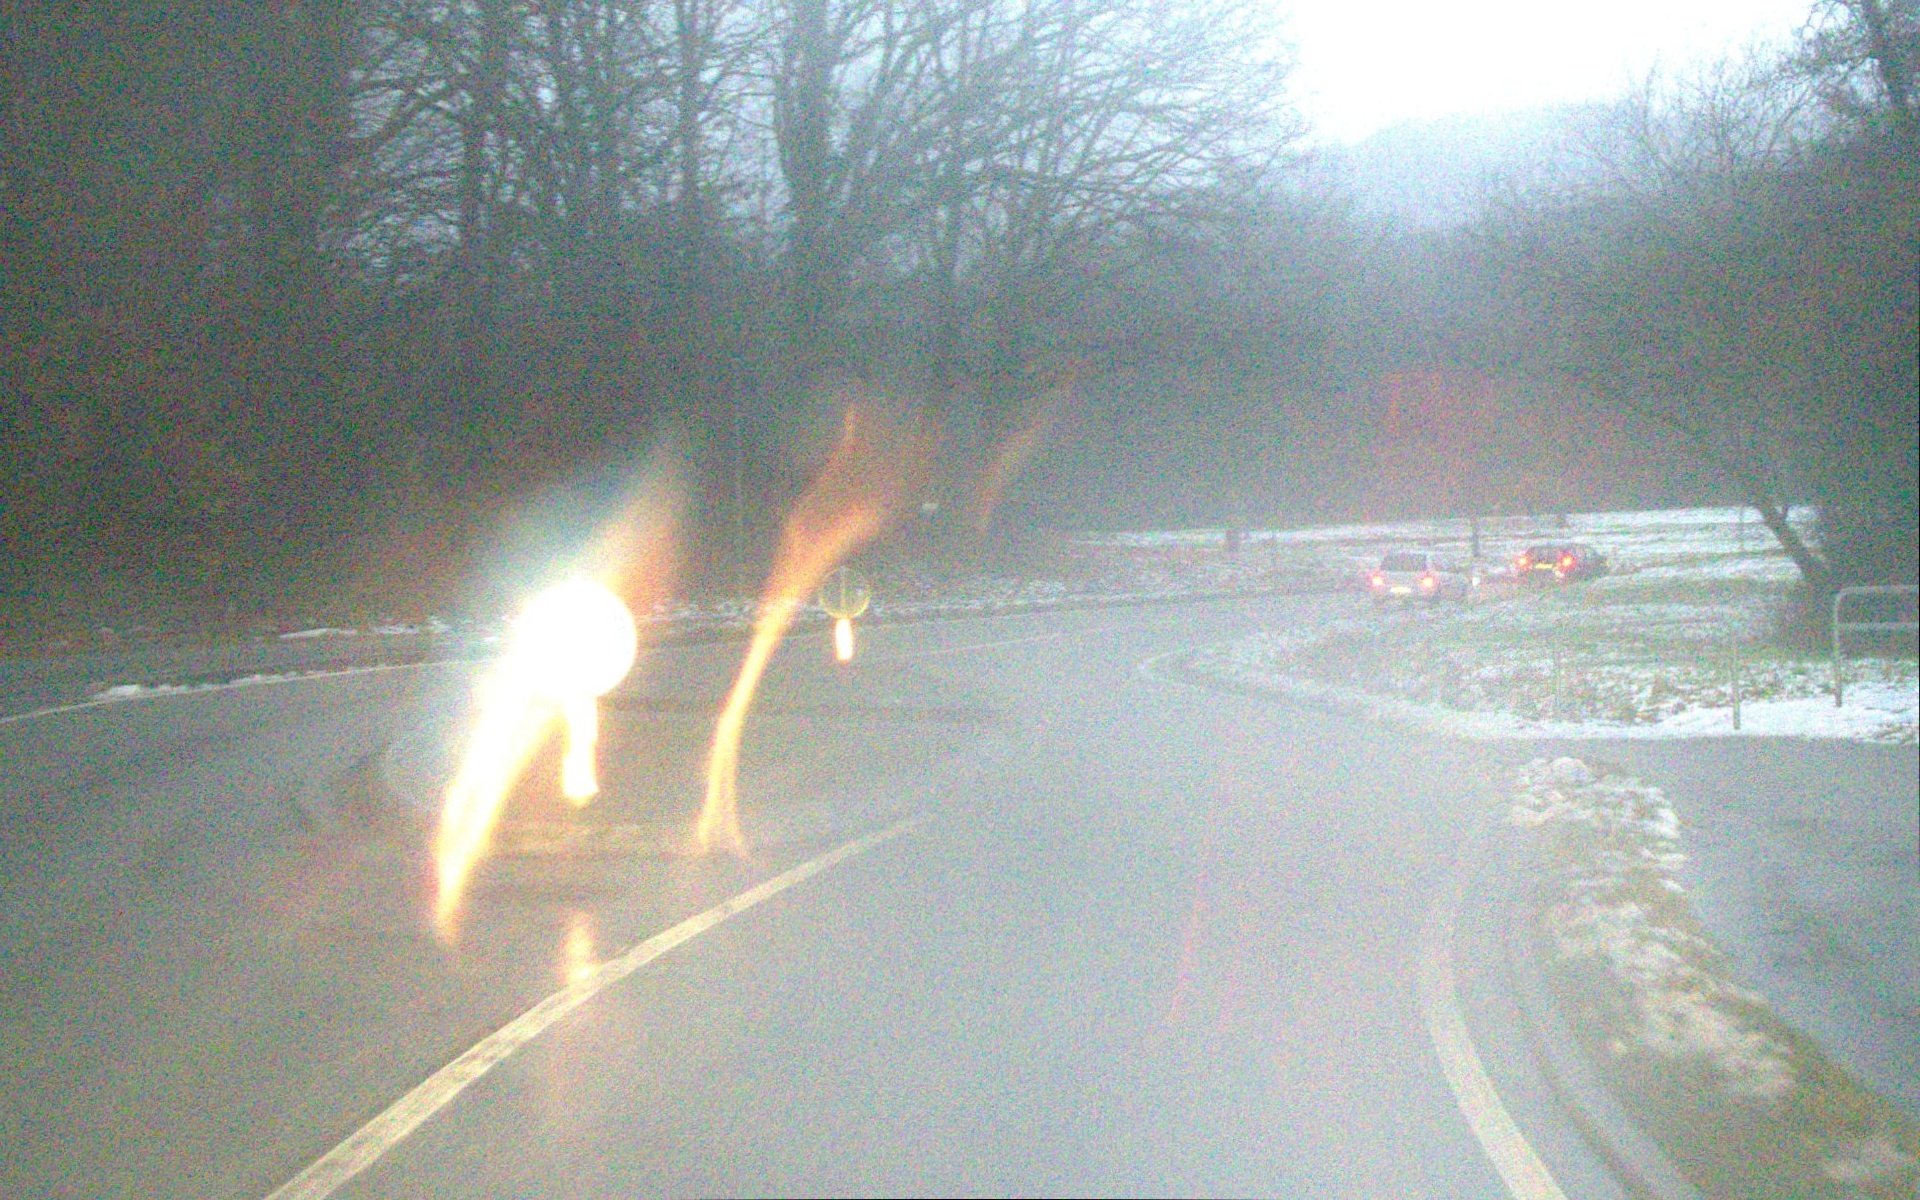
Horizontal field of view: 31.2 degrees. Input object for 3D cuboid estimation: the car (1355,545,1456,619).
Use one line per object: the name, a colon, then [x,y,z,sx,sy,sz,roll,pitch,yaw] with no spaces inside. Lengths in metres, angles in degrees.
car: [11.095,-0.469,85.379,1.934,1.775,3.997,0,1,16]

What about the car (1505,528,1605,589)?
car: [16.843,-1.184,97.168,1.935,1.670,3.995,0,1,23]
